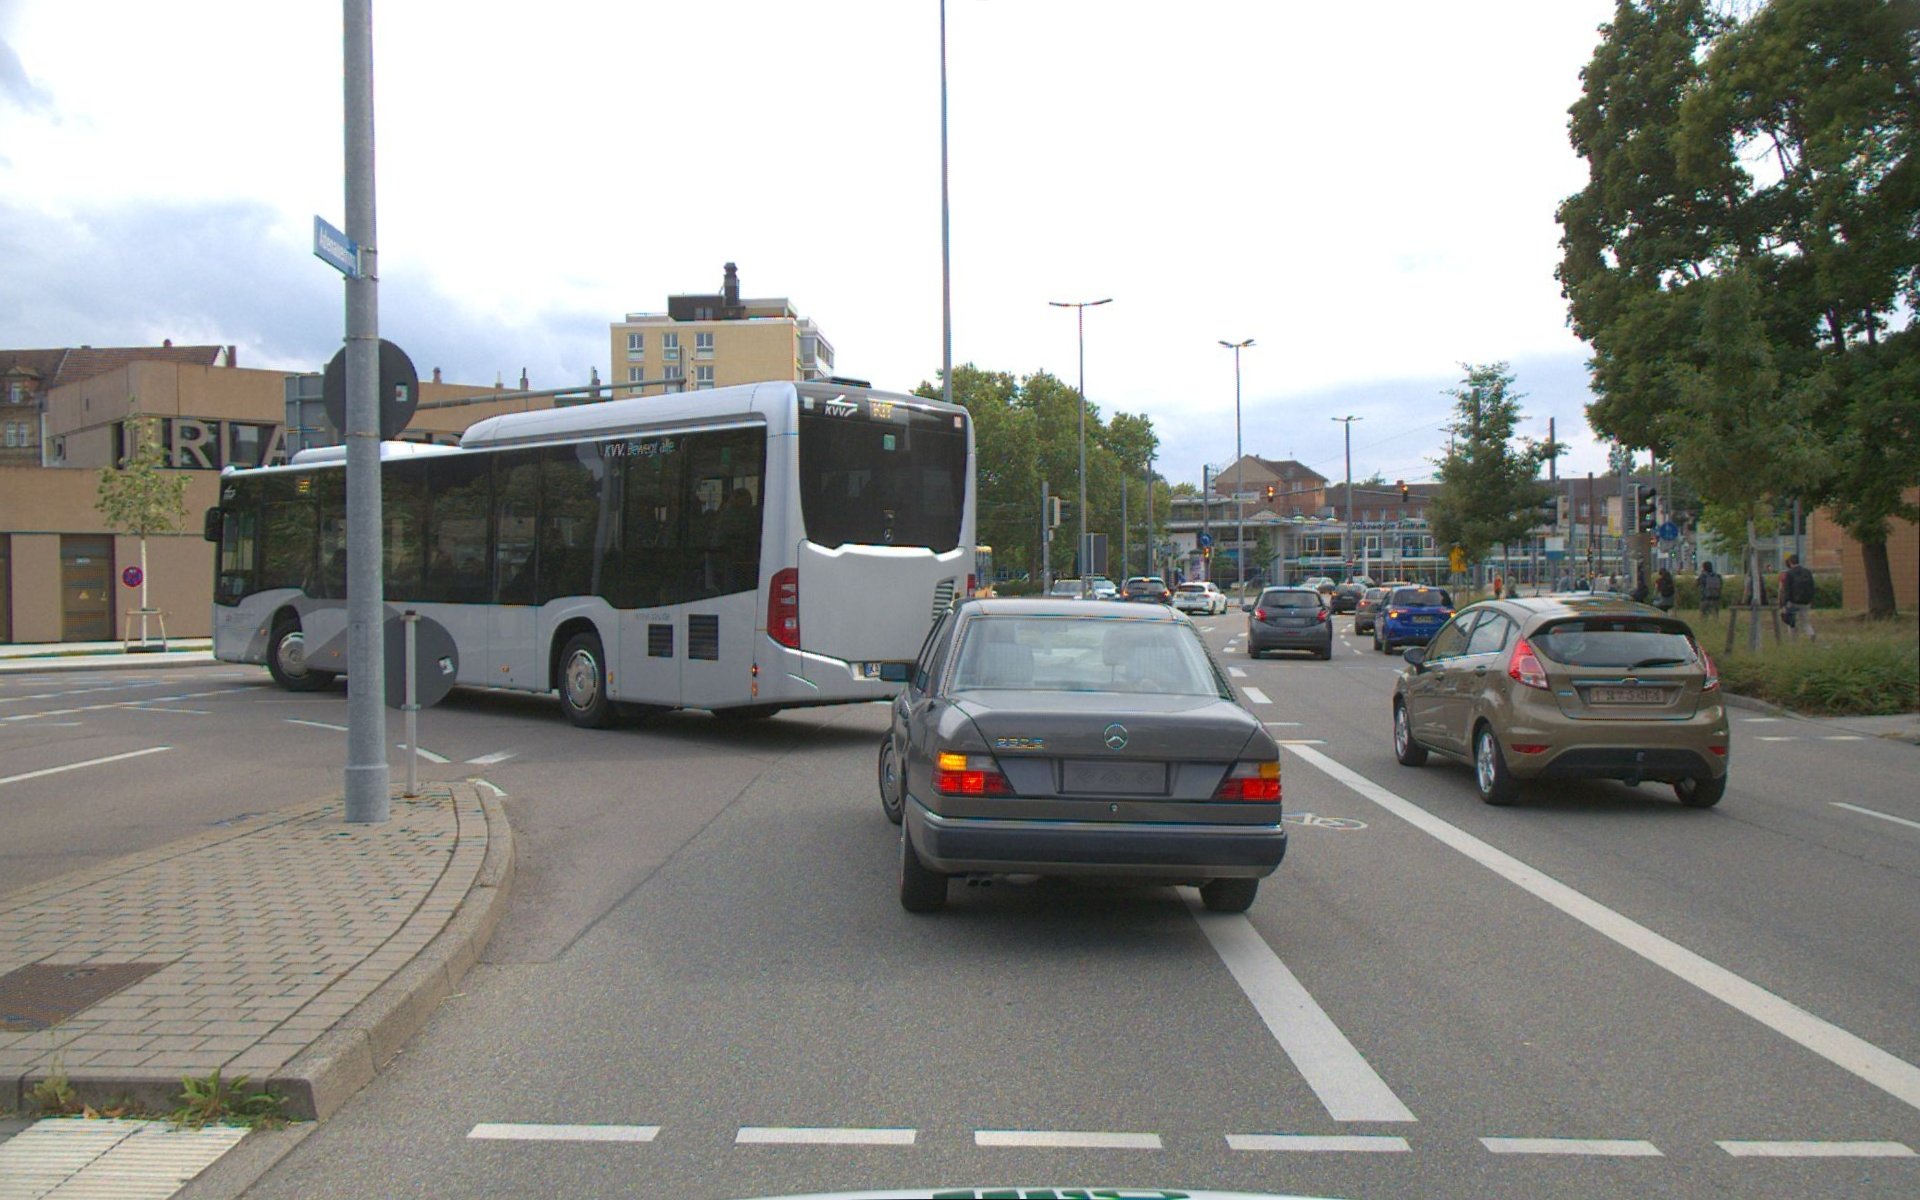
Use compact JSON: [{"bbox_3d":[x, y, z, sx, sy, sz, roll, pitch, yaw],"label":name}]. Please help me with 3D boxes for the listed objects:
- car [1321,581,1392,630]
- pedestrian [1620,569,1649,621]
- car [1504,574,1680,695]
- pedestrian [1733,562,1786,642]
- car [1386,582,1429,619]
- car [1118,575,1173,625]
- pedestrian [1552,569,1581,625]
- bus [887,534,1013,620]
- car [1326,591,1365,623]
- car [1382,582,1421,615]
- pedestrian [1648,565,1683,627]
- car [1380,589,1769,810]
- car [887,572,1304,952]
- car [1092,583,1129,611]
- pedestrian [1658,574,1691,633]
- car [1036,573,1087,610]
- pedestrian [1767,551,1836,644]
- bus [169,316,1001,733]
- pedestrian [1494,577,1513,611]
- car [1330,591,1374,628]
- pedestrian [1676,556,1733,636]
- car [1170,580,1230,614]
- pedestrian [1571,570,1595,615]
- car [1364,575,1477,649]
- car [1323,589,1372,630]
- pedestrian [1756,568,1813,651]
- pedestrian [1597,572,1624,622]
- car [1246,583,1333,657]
[{"bbox_3d":[12.478,0.178,51.930,2.087,1.445,3.703,1,0,15],"label":"car"},{"bbox_3d":[21.229,-0.155,52.064,0.762,1.601,0.812,-2,0,21],"label":"pedestrian"},{"bbox_3d":[8.813,0.450,23.324,1.630,1.534,3.637,1,0,10],"label":"car"},{"bbox_3d":[17.852,0.041,36.964,0.762,1.741,0.812,1,0,-2],"label":"pedestrian"},{"bbox_3d":[18.529,0.019,68.589,1.667,1.445,3.703,1,0,15],"label":"car"},{"bbox_3d":[6.397,-0.010,56.944,1.795,1.643,3.549,1,0,7],"label":"car"},{"bbox_3d":[17.927,-0.092,48.891,0.762,1.601,0.812,-2,0,21],"label":"pedestrian"},{"bbox_3d":[-0.187,-0.877,70.097,3.080,3.312,12.424,1,0,10],"label":"bus"},{"bbox_3d":[18.152,0.312,77.786,1.674,1.445,4.003,1,0,15],"label":"car"},{"bbox_3d":[20.124,-0.062,75.454,1.667,1.445,3.703,1,0,15],"label":"car"},{"bbox_3d":[18.788,-0.102,44.043,0.762,1.601,0.812,-2,0,21],"label":"pedestrian"},{"bbox_3d":[4.535,0.658,12.784,1.660,1.429,3.700,1,0,1],"label":"car"},{"bbox_3d":[0.521,0.655,8.876,1.661,1.506,4.415,1,0,-1],"label":"car"},{"bbox_3d":[9.288,-0.183,101.656,1.951,1.680,4.516,1,0,9],"label":"car"},{"bbox_3d":[19.828,0.081,45.902,0.762,1.601,0.812,-2,0,21],"label":"pedestrian"},{"bbox_3d":[4.869,-0.409,78.766,1.951,1.680,4.516,1,0,9],"label":"car"},{"bbox_3d":[16.173,-0.041,31.805,0.762,1.741,1.027,1,0,-2],"label":"pedestrian"},{"bbox_3d":[-5.498,-0.511,19.797,2.694,3.498,13.948,-2,0,-45],"label":"bus"},{"bbox_3d":[26.677,-0.295,81.166,0.762,1.601,0.812,-2,0,21],"label":"pedestrian"},{"bbox_3d":[16.166,0.382,68.096,1.674,1.445,4.003,1,0,15],"label":"car"},{"bbox_3d":[16.489,-0.084,36.649,0.762,1.741,1.027,1,0,-2],"label":"pedestrian"},{"bbox_3d":[10.638,-0.108,73.209,1.676,1.445,3.999,1,0,22],"label":"car"},{"bbox_3d":[23.024,-0.276,61.139,0.762,1.601,0.812,-2,0,21],"label":"pedestrian"},{"bbox_3d":[10.420,0.264,37.704,1.818,1.559,4.005,1,0,6],"label":"car"},{"bbox_3d":[14.726,0.356,62.755,1.674,1.445,4.003,1,0,15],"label":"car"},{"bbox_3d":[17.521,0.203,35.166,0.762,1.741,0.812,1,0,-2],"label":"pedestrian"},{"bbox_3d":[21.289,-0.112,54.163,0.762,1.601,0.812,-2,0,21],"label":"pedestrian"},{"bbox_3d":[7.025,0.404,35.064,1.674,1.445,4.003,1,0,13],"label":"car"}]
